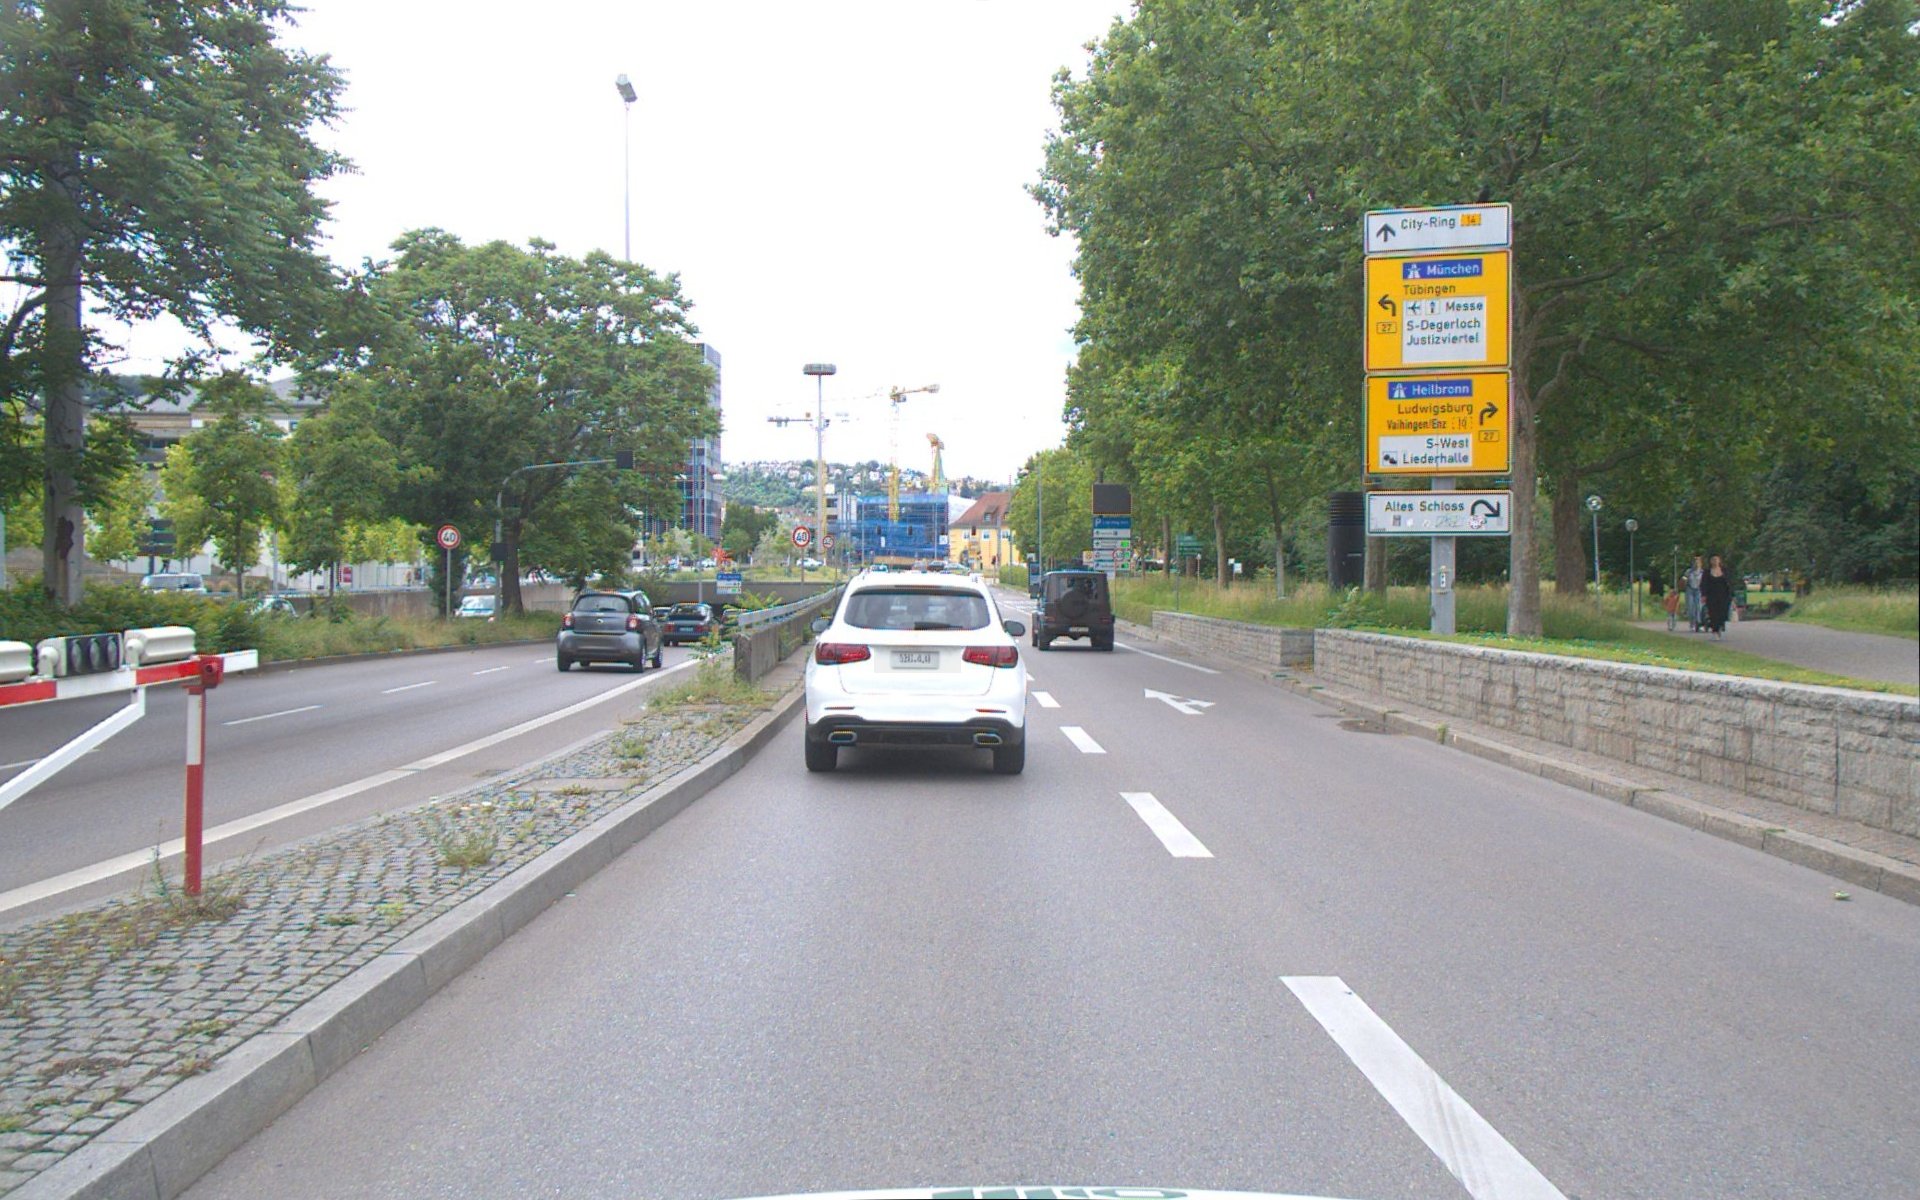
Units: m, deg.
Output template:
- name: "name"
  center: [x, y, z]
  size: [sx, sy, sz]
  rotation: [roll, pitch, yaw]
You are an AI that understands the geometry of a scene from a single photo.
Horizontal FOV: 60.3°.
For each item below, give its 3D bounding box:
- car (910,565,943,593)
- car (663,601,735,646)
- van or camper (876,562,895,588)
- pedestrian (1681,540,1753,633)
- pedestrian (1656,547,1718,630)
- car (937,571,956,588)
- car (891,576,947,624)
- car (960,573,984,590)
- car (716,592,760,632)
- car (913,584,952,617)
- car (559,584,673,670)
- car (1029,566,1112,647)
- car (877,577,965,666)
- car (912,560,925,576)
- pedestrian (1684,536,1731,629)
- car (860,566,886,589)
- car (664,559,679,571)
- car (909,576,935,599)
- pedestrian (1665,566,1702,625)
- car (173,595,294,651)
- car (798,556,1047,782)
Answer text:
- name: "car"
  center: [-2.194, -1.350, 108.476]
  size: [1.954, 1.691, 3.997]
  rotation: [2, 0, -3]
- name: "car"
  center: [-8.564, 0.745, 54.589]
  size: [1.684, 1.315, 4.000]
  rotation: [2, 0, 0]
- name: "van or camper"
  center: [-7.463, -2.485, 165.341]
  size: [1.884, 2.360, 3.997]
  rotation: [1, -1, -3]
- name: "pedestrian"
  center: [14.869, -0.263, 32.511]
  size: [0.878, 1.763, 0.968]
  rotation: [2, 0, -2]
- name: "pedestrian"
  center: [16.983, -0.265, 38.656]
  size: [0.976, 1.868, 1.030]
  rotation: [2, -1, 2]
- name: "car"
  center: [-1.386, -2.112, 171.470]
  size: [1.685, 1.612, 3.997]
  rotation: [2, 0, -4]
- name: "car"
  center: [-1.514, -0.017, 59.529]
  size: [1.884, 1.630, 3.998]
  rotation: [1, 1, -3]
- name: "car"
  center: [1.260, -1.935, 173.363]
  size: [1.956, 1.646, 3.993]
  rotation: [2, 0, -7]
- name: "car"
  center: [-10.246, 0.518, 76.569]
  size: [1.685, 1.708, 3.997]
  rotation: [2, 0, -4]
- name: "car"
  center: [-1.469, 0.007, 88.139]
  size: [1.884, 1.630, 3.998]
  rotation: [1, 1, -3]
- name: "car"
  center: [-6.638, 0.511, 32.222]
  size: [1.595, 1.535, 3.538]
  rotation: [1, 0, -3]
- name: "car"
  center: [2.842, 0.170, 43.390]
  size: [1.937, 1.926, 4.708]
  rotation: [2, 0, 1]
- name: "car"
  center: [-0.815, 0.436, 33.747]
  size: [1.639, 1.656, 3.998]
  rotation: [2, -1, -2]
- name: "car"
  center: [-5.992, -4.589, 238.381]
  size: [1.764, 2.049, 3.997]
  rotation: [2, 0, -3]
- name: "pedestrian"
  center: [16.915, -0.391, 37.456]
  size: [0.559, 2.049, 0.932]
  rotation: [2, -1, -2]
- name: "car"
  center: [-7.085, -1.821, 134.967]
  size: [1.953, 1.787, 3.999]
  rotation: [2, 0, -1]
- name: "car"
  center: [-39.172, -4.740, 224.586]
  size: [1.798, 1.384, 3.861]
  rotation: [3, 0, -8]
- name: "car"
  center: [-3.117, -1.005, 136.374]
  size: [1.954, 1.812, 3.997]
  rotation: [2, 0, -3]
- name: "pedestrian"
  center: [16.872, -0.101, 38.584]
  size: [0.570, 1.348, 0.541]
  rotation: [2, -1, -2]
- name: "car"
  center: [-20.841, 0.654, 47.627]
  size: [1.720, 1.487, 3.999]
  rotation: [2, 0, -1]
- name: "car"
  center: [-0.403, 0.547, 14.858]
  size: [1.902, 1.713, 3.997]
  rotation: [1, 0, -3]
